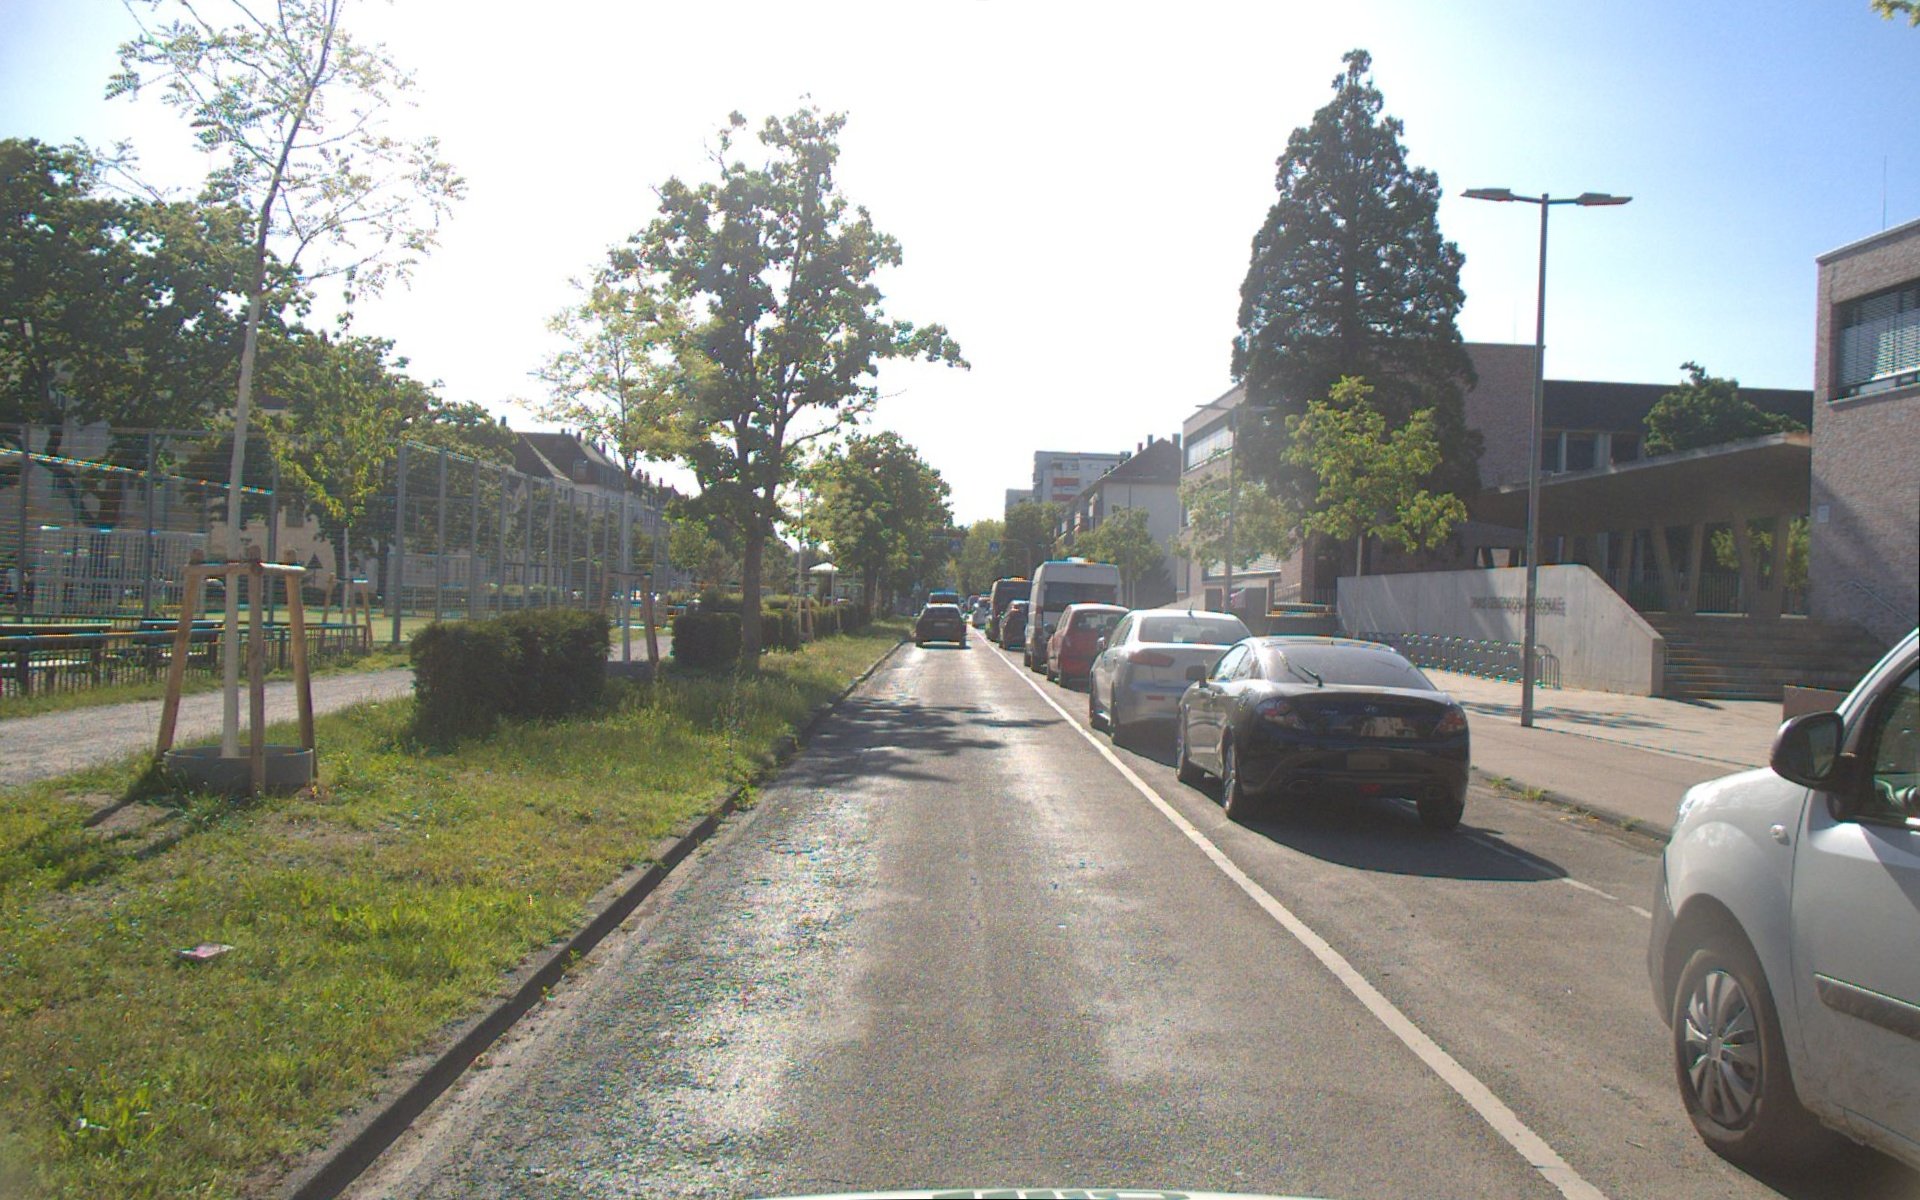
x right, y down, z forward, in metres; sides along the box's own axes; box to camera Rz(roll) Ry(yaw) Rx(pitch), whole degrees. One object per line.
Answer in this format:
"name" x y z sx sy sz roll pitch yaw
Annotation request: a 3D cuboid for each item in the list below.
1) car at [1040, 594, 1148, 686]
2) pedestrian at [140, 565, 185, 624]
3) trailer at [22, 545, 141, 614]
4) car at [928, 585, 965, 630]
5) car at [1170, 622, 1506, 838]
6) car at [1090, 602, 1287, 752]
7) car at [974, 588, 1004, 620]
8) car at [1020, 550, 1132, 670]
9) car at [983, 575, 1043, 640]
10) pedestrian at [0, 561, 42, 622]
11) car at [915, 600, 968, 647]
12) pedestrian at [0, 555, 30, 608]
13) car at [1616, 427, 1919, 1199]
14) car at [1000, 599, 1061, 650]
"car" 2.532 0.722 32.005 1.587 1.616 3.590 2 0 -3
"pedestrian" -18.564 -0.118 38.499 0.636 1.341 0.649 2 0 28
"trailer" -39.830 -0.901 75.185 2.296 2.920 5.801 2 0 -1
"car" -0.689 0.361 83.597 1.757 2.159 4.000 2 0 0
"car" 2.845 0.917 13.340 1.667 1.348 4.128 2 0 -1
"car" 2.557 0.806 19.413 1.667 1.504 4.173 2 0 0
"car" 1.825 0.249 103.182 1.757 1.887 4.414 2 0 2
"car" 2.710 0.228 39.805 2.195 2.619 5.432 2 0 0
"car" 2.181 0.299 69.604 2.072 2.559 6.529 1 0 -2
"pedestrian" -21.223 -0.184 37.280 0.636 1.341 0.649 2 0 28
"car" -0.628 0.812 58.159 1.757 1.536 4.000 2 0 0
"pedestrian" -30.486 -0.601 53.315 0.635 1.690 0.650 1 0 -1
"car" 3.157 0.597 3.259 1.771 1.942 4.459 2 0 -2
"car" 2.407 0.829 57.459 1.808 1.669 4.502 1 0 -1
